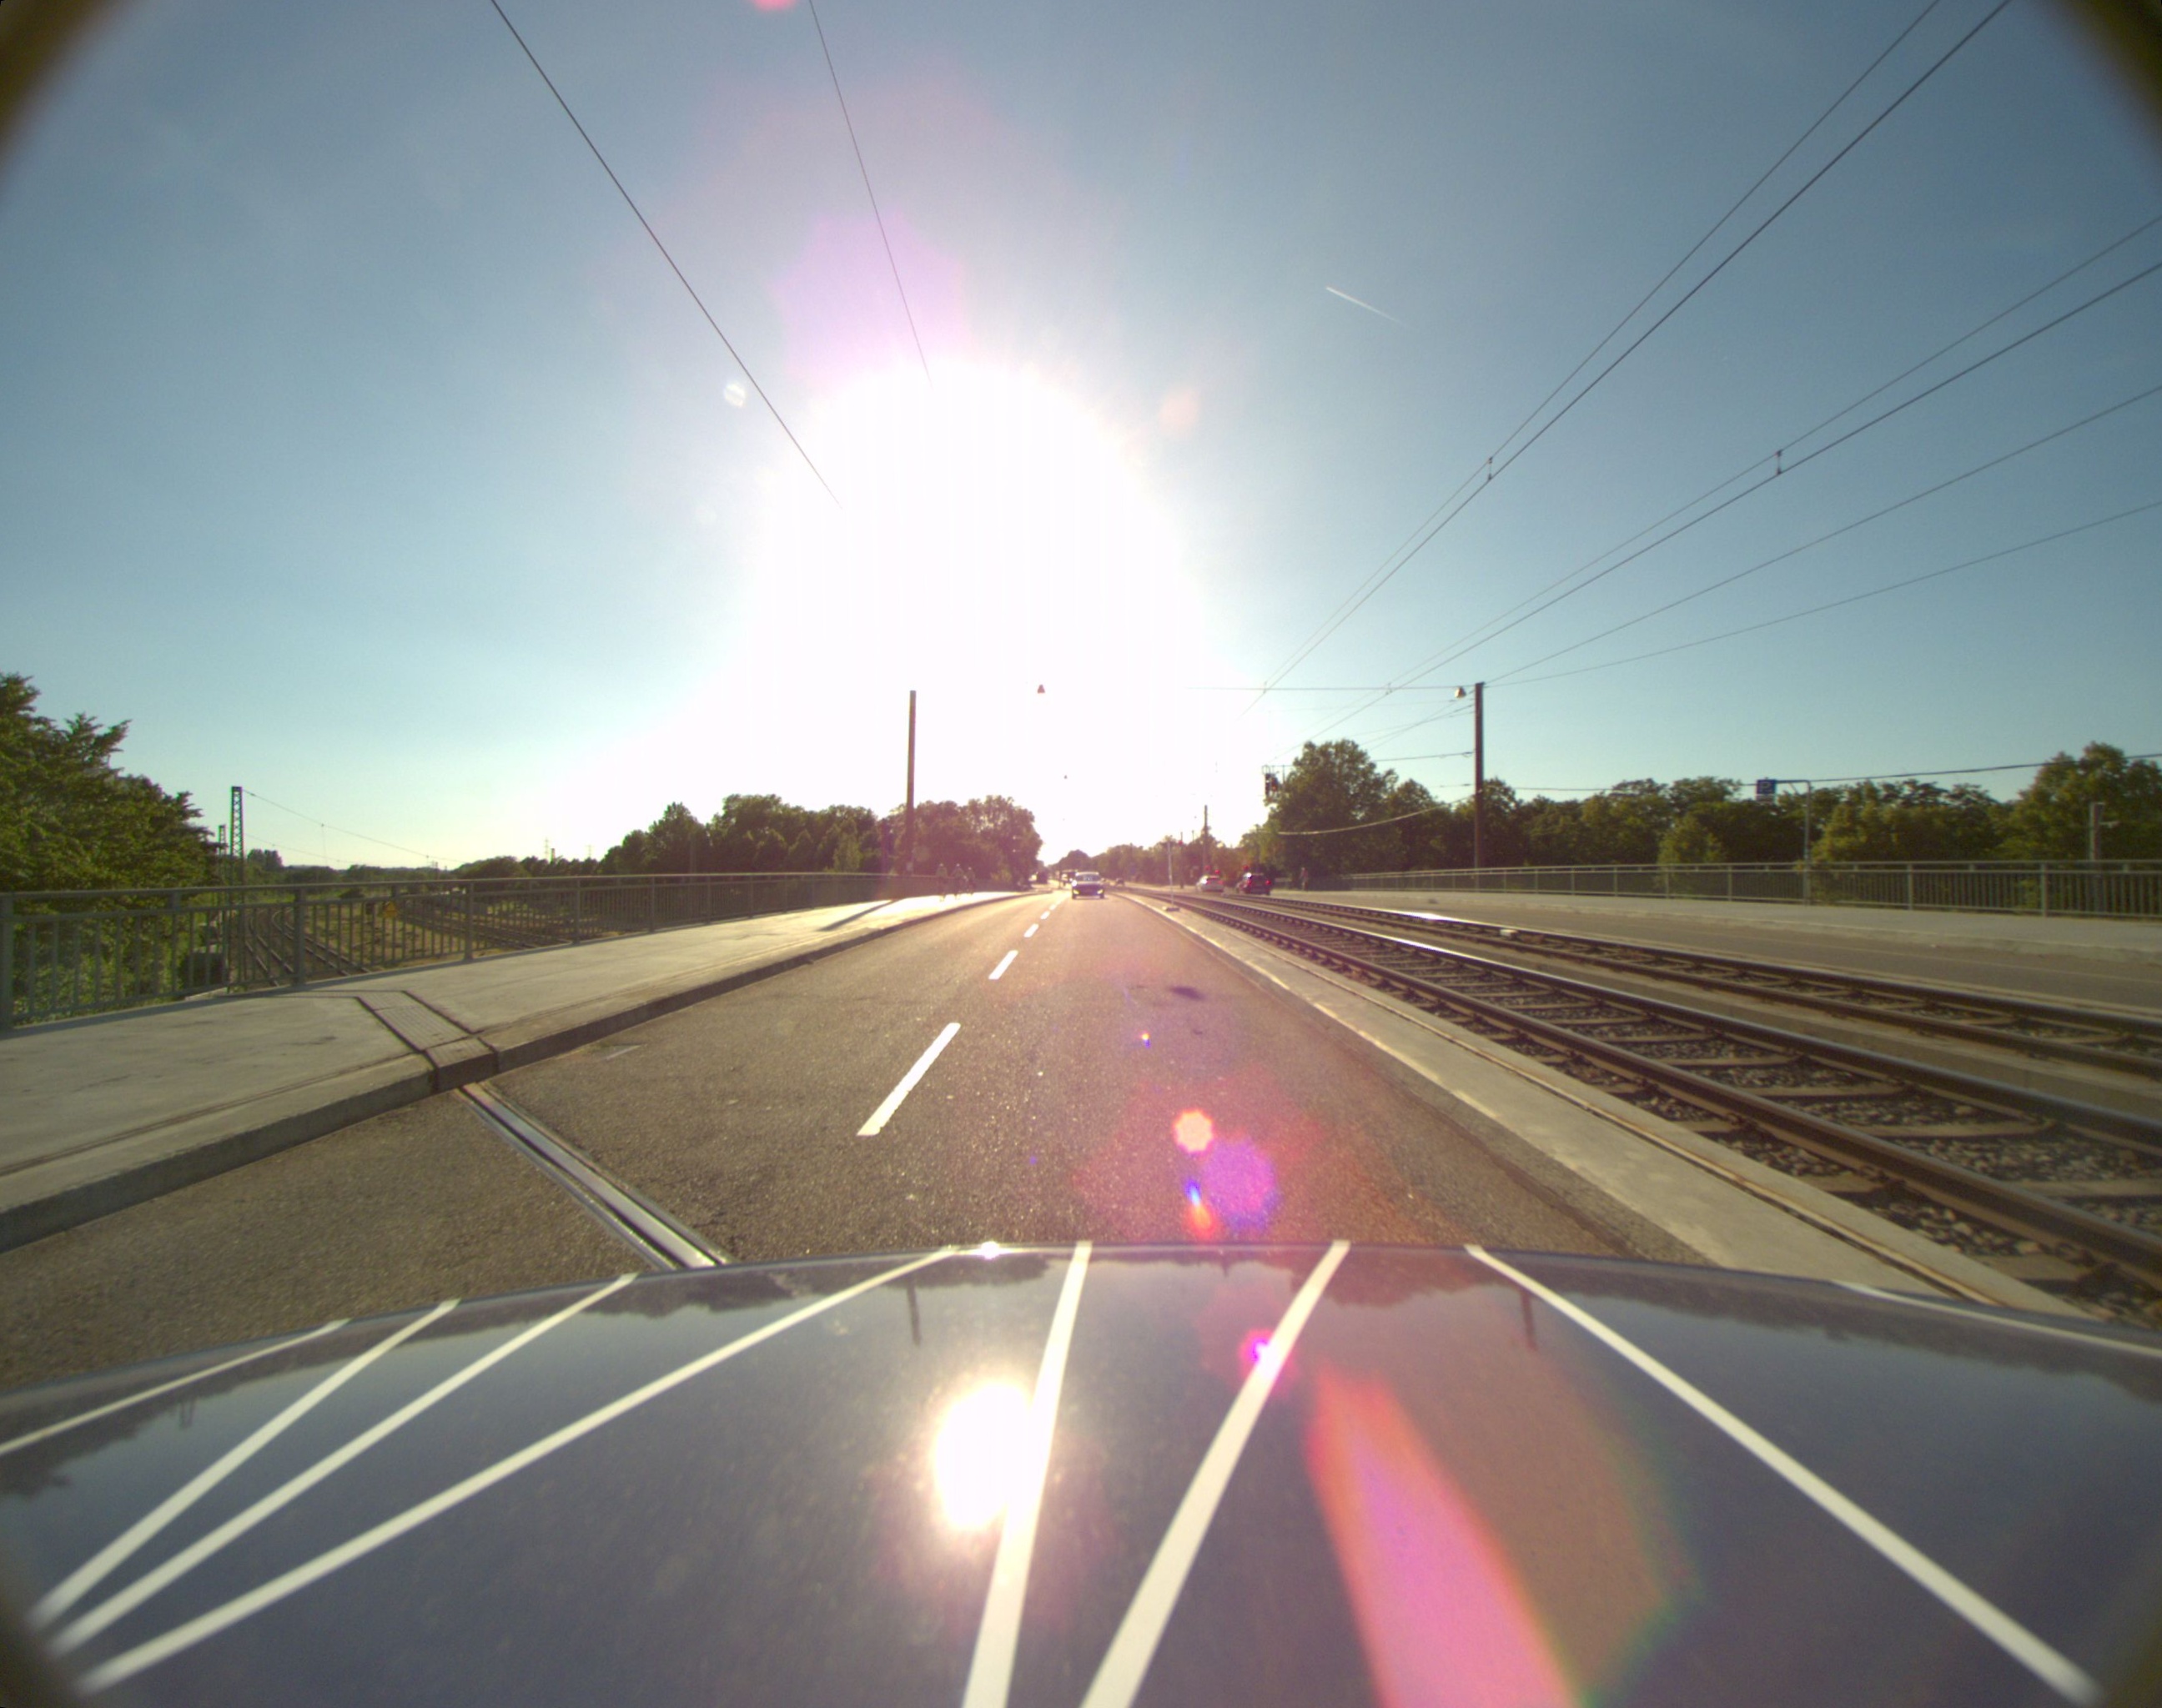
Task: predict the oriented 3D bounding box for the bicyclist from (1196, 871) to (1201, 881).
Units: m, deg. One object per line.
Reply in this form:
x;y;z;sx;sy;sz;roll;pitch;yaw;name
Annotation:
17.444;3.281;112.582;0.626;1.424;0.969;-1;-1;2;bicyclist

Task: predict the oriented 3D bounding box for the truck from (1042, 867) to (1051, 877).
-10.656;5.634;236.742;2.611;3.185;7.869;-1;-1;-4;truck

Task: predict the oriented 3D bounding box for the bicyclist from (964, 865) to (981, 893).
-6.166;1.411;43.273;0.814;1.553;0.897;-1;-2;0;bicyclist

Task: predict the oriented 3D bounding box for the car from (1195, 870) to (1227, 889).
11.925;2.326;69.988;2.006;1.627;5.091;-1;-1;0;car

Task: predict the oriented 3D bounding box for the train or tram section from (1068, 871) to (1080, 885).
-2.096;6.994;224.339;2.570;3.877;11.669;-1;-1;-5;train or tram section

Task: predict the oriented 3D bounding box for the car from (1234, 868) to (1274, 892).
11.665;1.737;51.383;1.812;1.510;4.001;1;-2;0;car

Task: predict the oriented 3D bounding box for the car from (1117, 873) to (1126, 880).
9.224;5.058;172.642;1.853;1.493;4.220;-1;-1;0;car

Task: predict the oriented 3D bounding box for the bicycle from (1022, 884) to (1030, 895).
-5.906;3.800;82.205;0.733;1.115;2.742;-3;-1;-3;bicycle

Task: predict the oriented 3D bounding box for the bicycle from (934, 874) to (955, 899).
-6.363;1.492;35.504;0.627;1.115;2.259;-1;-1;-3;bicycle

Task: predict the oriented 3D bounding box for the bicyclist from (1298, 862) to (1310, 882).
17.881;1.432;60.930;0.627;1.623;0.935;-1;-1;-1;bicyclist

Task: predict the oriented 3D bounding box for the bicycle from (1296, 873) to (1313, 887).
17.894;2.068;60.895;0.627;1.116;2.260;-1;-1;-1;bicycle

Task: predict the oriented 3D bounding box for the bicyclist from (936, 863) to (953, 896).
-6.372;1.180;35.471;0.627;1.499;1.006;-1;-1;-3;bicyclist

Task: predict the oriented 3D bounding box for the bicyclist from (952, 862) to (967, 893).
-6.281;1.194;39.366;0.626;1.583;0.931;-1;-1;0;bicyclist

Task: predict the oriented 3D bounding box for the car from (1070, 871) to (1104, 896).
0.321;1.622;42.493;1.802;1.345;4.001;0;-1;-1;car

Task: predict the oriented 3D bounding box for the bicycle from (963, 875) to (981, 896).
-6.168;1.798;43.243;0.685;1.115;2.217;-1;-2;0;bicycle

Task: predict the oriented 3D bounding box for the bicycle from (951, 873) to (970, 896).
-6.237;1.550;39.380;0.626;1.116;2.042;-1;-1;0;bicycle

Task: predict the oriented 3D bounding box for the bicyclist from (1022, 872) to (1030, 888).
-5.980;2.775;82.244;0.733;1.679;1.202;-3;-1;-3;bicyclist
